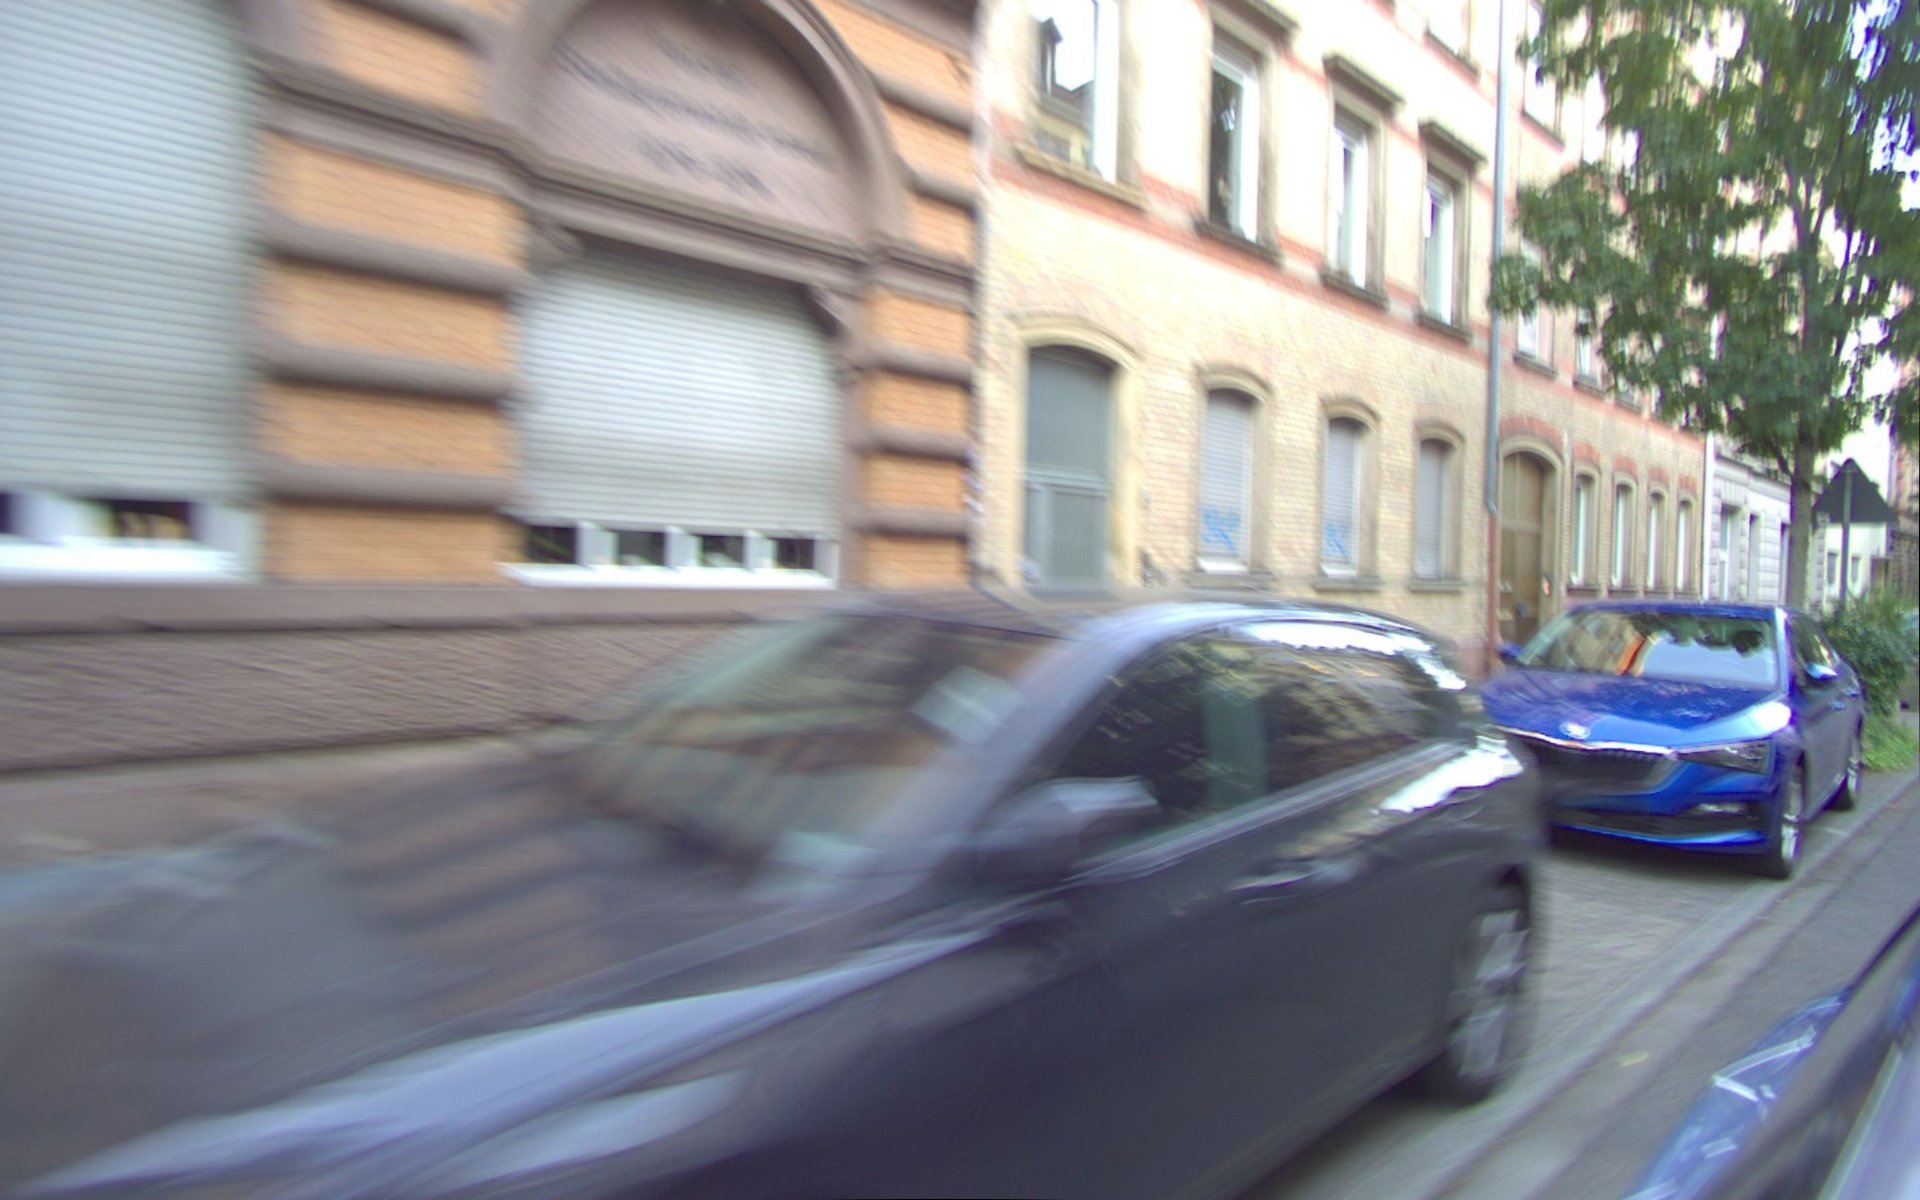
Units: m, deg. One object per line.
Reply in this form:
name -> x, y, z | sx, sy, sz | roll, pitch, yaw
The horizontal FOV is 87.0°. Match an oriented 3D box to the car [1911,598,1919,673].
car -> 20.425, 0.719, 20.308 | 3.503, 1.441, 1.638 | 0, 2, -42

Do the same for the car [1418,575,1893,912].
car -> 4.680, 0.618, 6.537 | 4.173, 1.485, 1.630 | 0, 2, -43

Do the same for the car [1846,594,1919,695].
car -> 15.693, 0.664, 16.072 | 4.394, 1.432, 1.771 | 0, 3, -40

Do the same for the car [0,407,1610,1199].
car -> -0.030, 0.584, 2.514 | 4.120, 1.496, 1.714 | 0, 1, -41
